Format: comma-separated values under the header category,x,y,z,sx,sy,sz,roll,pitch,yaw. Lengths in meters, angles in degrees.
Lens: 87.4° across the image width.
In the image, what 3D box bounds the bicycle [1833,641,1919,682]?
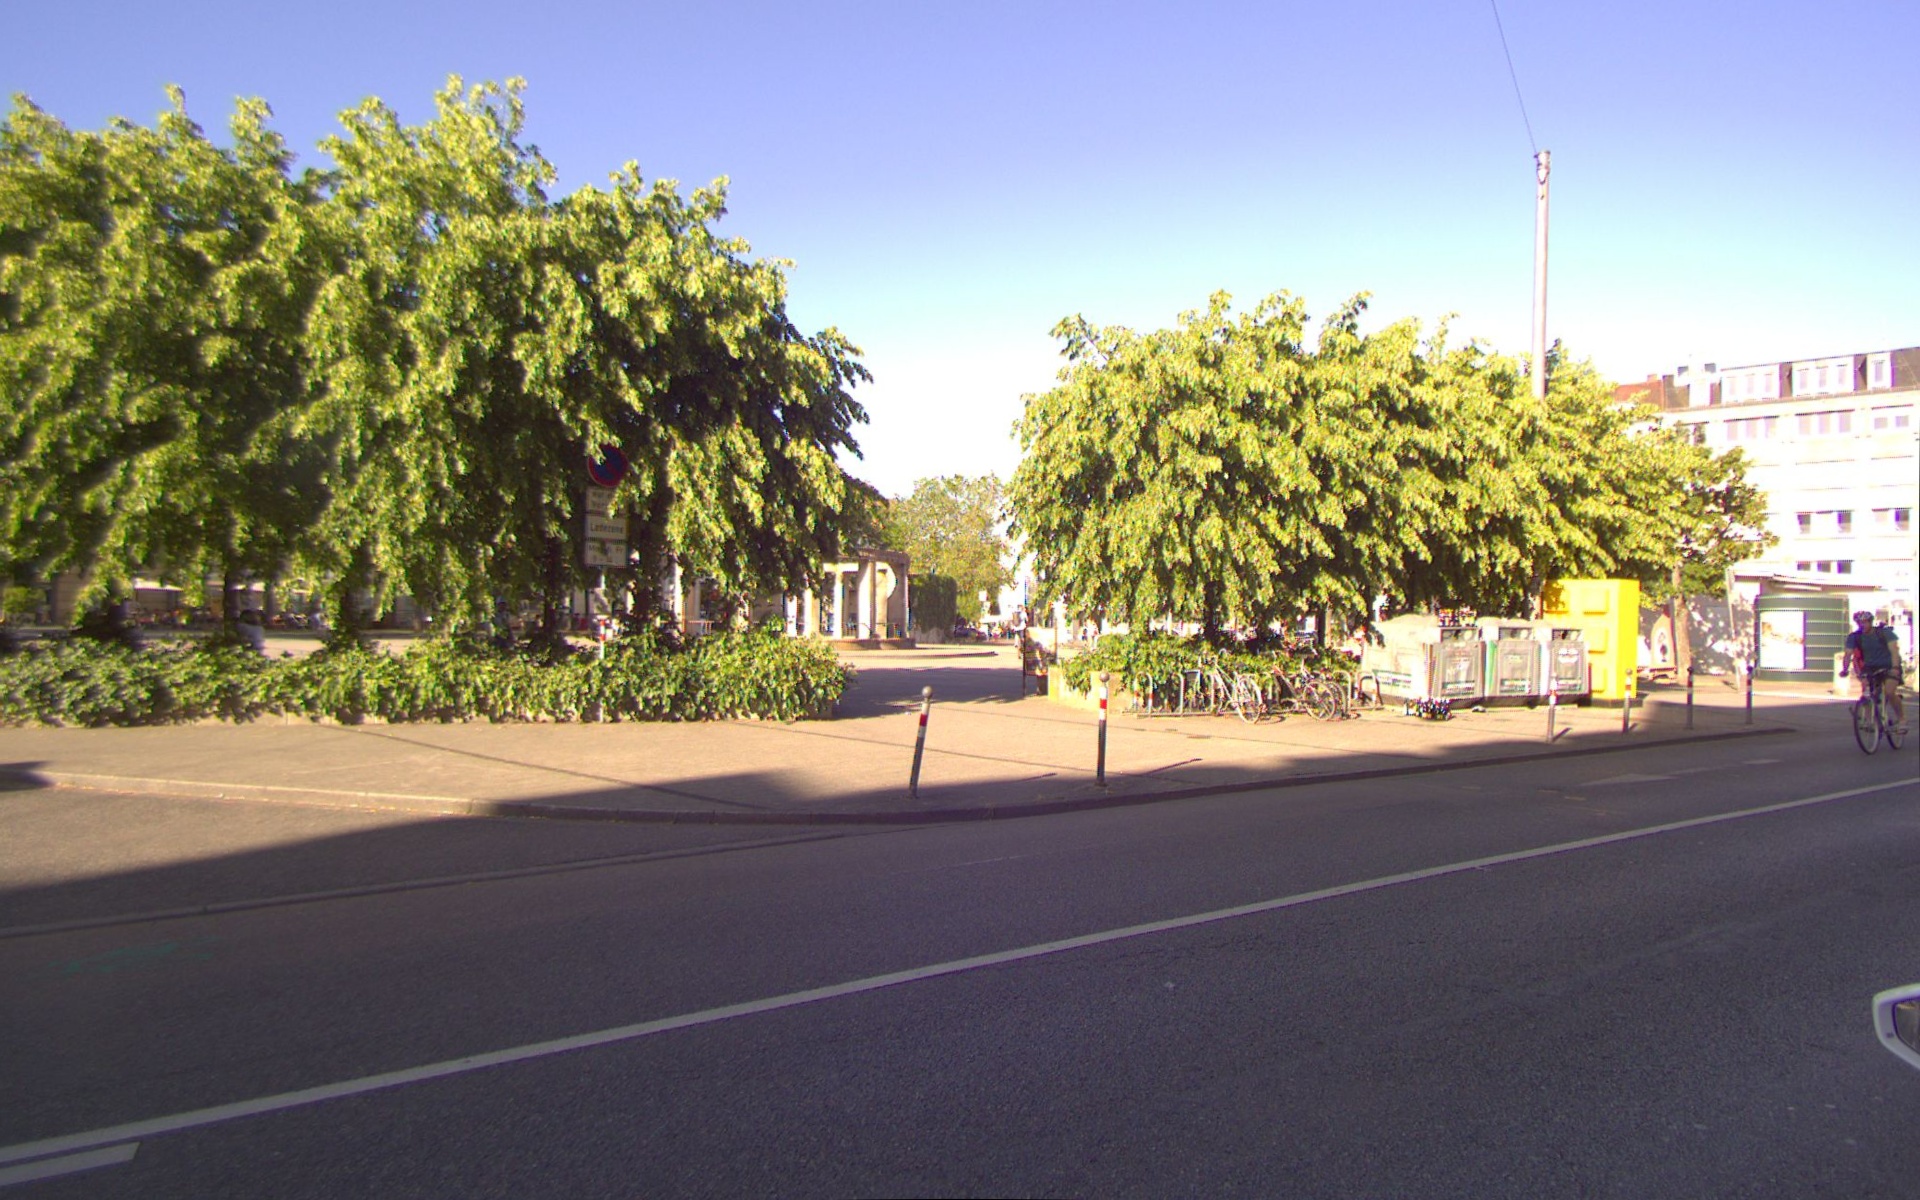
category,x,y,z,sx,sy,sz,roll,pitch,yaw
bicycle,31.219,2.064,33.758,0.932,1.211,2.645,2,0,-32

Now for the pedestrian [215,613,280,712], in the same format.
category,x,y,z,sx,sy,sz,roll,pitch,yaw
pedestrian,-10.855,0.933,15.299,0.581,1.456,0.615,2,0,33

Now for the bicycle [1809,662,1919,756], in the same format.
category,x,y,z,sx,sy,sz,roll,pitch,yaw
bicycle,12.280,1.436,13.546,1.934,1.177,0.613,2,-3,-29

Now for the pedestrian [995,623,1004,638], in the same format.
category,x,y,z,sx,sy,sz,roll,pitch,yaw
pedestrian,4.084,3.181,104.420,0.744,1.557,0.673,2,0,-12

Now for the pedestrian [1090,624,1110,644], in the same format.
category,x,y,z,sx,sy,sz,roll,pitch,yaw
pedestrian,8.926,2.174,64.001,0.890,1.230,0.860,2,0,-30

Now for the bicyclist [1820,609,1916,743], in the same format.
category,x,y,z,sx,sy,sz,roll,pitch,yaw
bicyclist,12.245,1.013,13.551,0.800,1.732,0.698,1,-3,-29

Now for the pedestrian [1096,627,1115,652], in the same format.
category,x,y,z,sx,sy,sz,roll,pitch,yaw
pedestrian,9.366,2.556,64.686,1.003,1.541,1.036,2,0,15

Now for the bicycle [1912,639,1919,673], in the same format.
category,x,y,z,sx,sy,sz,roll,pitch,yaw
bicycle,37.244,2.156,37.271,0.932,1.276,2.648,2,0,-32

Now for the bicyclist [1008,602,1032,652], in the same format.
category,x,y,z,sx,sy,sz,roll,pitch,yaw
bicyclist,2.141,0.950,35.716,0.772,1.722,0.896,2,0,5

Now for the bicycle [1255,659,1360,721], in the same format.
category,x,y,z,sx,sy,sz,roll,pitch,yaw
bicycle,5.670,1.453,16.477,0.465,0.870,1.654,2,0,-35

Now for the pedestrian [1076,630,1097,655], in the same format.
category,x,y,z,sx,sy,sz,roll,pitch,yaw
pedestrian,9.799,3.273,77.819,1.277,1.867,1.100,2,0,-11

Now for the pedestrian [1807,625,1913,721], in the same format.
category,x,y,z,sx,sy,sz,roll,pitch,yaw
pedestrian,17.141,1.367,19.154,1.044,1.742,1.109,2,0,-17

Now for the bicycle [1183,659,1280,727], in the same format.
category,x,y,z,sx,sy,sz,roll,pitch,yaw
bicycle,4.171,1.410,15.523,0.464,0.897,1.558,2,0,-29

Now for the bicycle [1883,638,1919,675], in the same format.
category,x,y,z,sx,sy,sz,roll,pitch,yaw
bicycle,35.260,2.085,36.127,0.932,1.287,2.859,2,0,-32

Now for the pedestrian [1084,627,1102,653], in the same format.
category,x,y,z,sx,sy,sz,roll,pitch,yaw
pedestrian,8.165,2.467,61.719,0.904,1.541,0.936,2,0,15

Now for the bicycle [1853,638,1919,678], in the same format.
category,x,y,z,sx,sy,sz,roll,pitch,yaw
bicycle,33.141,2.040,35.061,0.923,1.291,2.764,2,0,-32

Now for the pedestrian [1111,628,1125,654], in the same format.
category,x,y,z,sx,sy,sz,roll,pitch,yaw
pedestrian,9.612,2.506,61.042,0.761,1.541,0.838,2,0,6

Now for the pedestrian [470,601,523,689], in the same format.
category,x,y,z,sx,sy,sz,roll,pitch,yaw
pedestrian,-8.374,0.799,18.141,0.688,1.541,0.676,2,0,-41

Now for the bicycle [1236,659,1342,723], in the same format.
category,x,y,z,sx,sy,sz,roll,pitch,yaw
bicycle,5.271,1.442,16.182,0.465,0.870,1.659,2,0,-35

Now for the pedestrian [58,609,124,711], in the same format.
category,x,y,z,sx,sy,sz,roll,pitch,yaw
pedestrian,-12.862,0.870,14.882,0.615,1.456,0.647,2,0,-32

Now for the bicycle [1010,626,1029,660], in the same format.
category,x,y,z,sx,sy,sz,roll,pitch,yaw
bicycle,2.134,1.509,35.906,0.593,1.116,1.990,2,0,5
